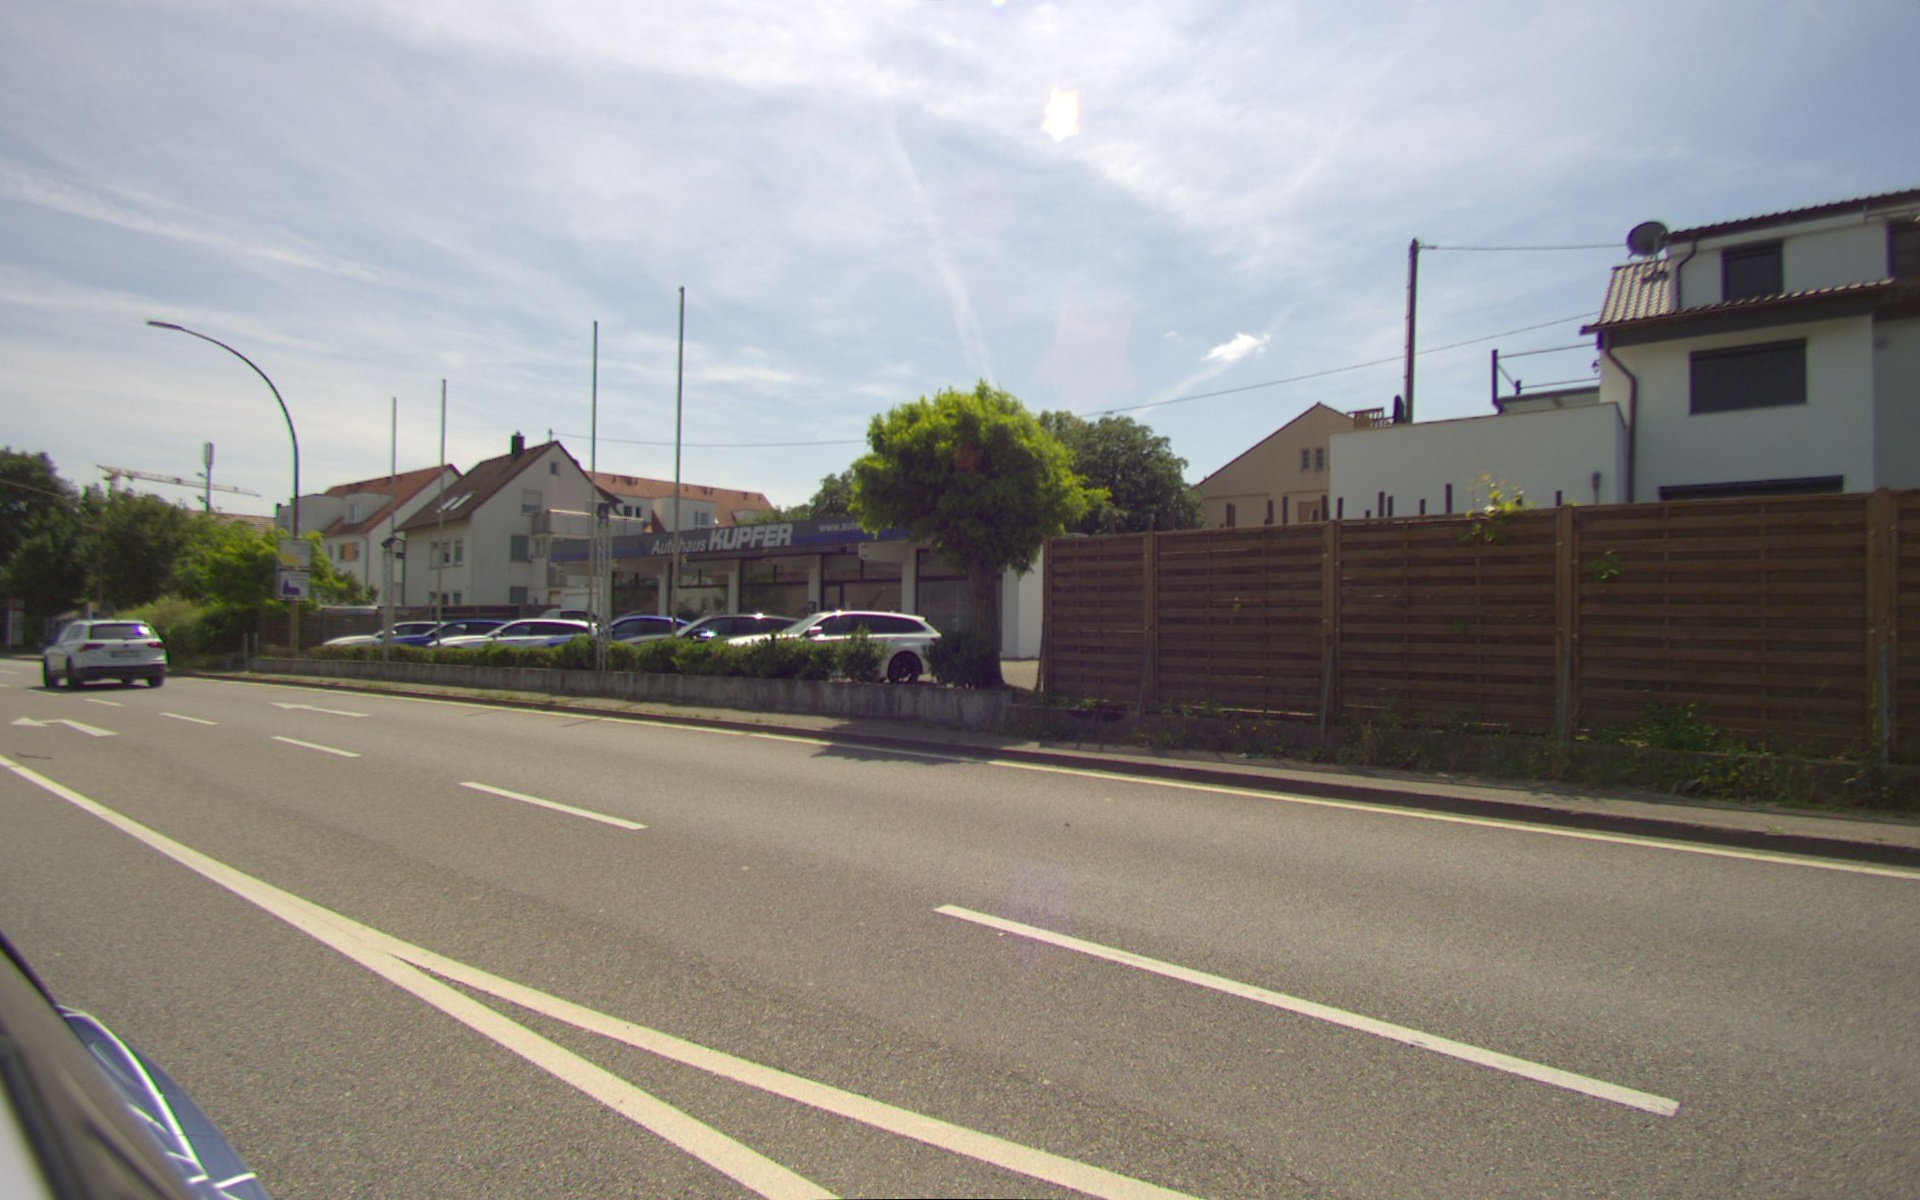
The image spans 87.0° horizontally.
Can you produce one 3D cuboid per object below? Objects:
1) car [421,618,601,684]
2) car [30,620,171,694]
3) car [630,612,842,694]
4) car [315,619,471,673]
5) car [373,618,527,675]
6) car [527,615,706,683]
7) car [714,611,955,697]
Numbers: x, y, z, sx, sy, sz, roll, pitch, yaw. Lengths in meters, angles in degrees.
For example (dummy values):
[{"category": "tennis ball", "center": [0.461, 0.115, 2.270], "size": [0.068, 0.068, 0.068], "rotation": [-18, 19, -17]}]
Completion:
[{"category": "car", "center": [-11.933, 1.315, 27.116], "size": [4.239, 1.530, 2.006], "rotation": [-1, -1, -23]}, {"category": "car", "center": [-21.519, 1.374, 25.289], "size": [4.397, 1.668, 1.828], "rotation": [-2, -1, 38]}, {"category": "car", "center": [-4.893, 1.103, 22.167], "size": [4.187, 1.557, 1.856], "rotation": [-1, -1, -27]}, {"category": "car", "center": [-18.122, 1.439, 32.583], "size": [4.192, 1.541, 2.007], "rotation": [-1, -1, -24]}, {"category": "car", "center": [-15.017, 1.338, 30.049], "size": [3.931, 1.475, 2.007], "rotation": [-1, -1, -24]}, {"category": "car", "center": [-8.327, 1.137, 24.525], "size": [3.931, 1.453, 1.860], "rotation": [-1, -1, -25]}, {"category": "car", "center": [-2.435, 0.980, 19.656], "size": [4.264, 1.471, 1.861], "rotation": [-1, -1, -26]}]
